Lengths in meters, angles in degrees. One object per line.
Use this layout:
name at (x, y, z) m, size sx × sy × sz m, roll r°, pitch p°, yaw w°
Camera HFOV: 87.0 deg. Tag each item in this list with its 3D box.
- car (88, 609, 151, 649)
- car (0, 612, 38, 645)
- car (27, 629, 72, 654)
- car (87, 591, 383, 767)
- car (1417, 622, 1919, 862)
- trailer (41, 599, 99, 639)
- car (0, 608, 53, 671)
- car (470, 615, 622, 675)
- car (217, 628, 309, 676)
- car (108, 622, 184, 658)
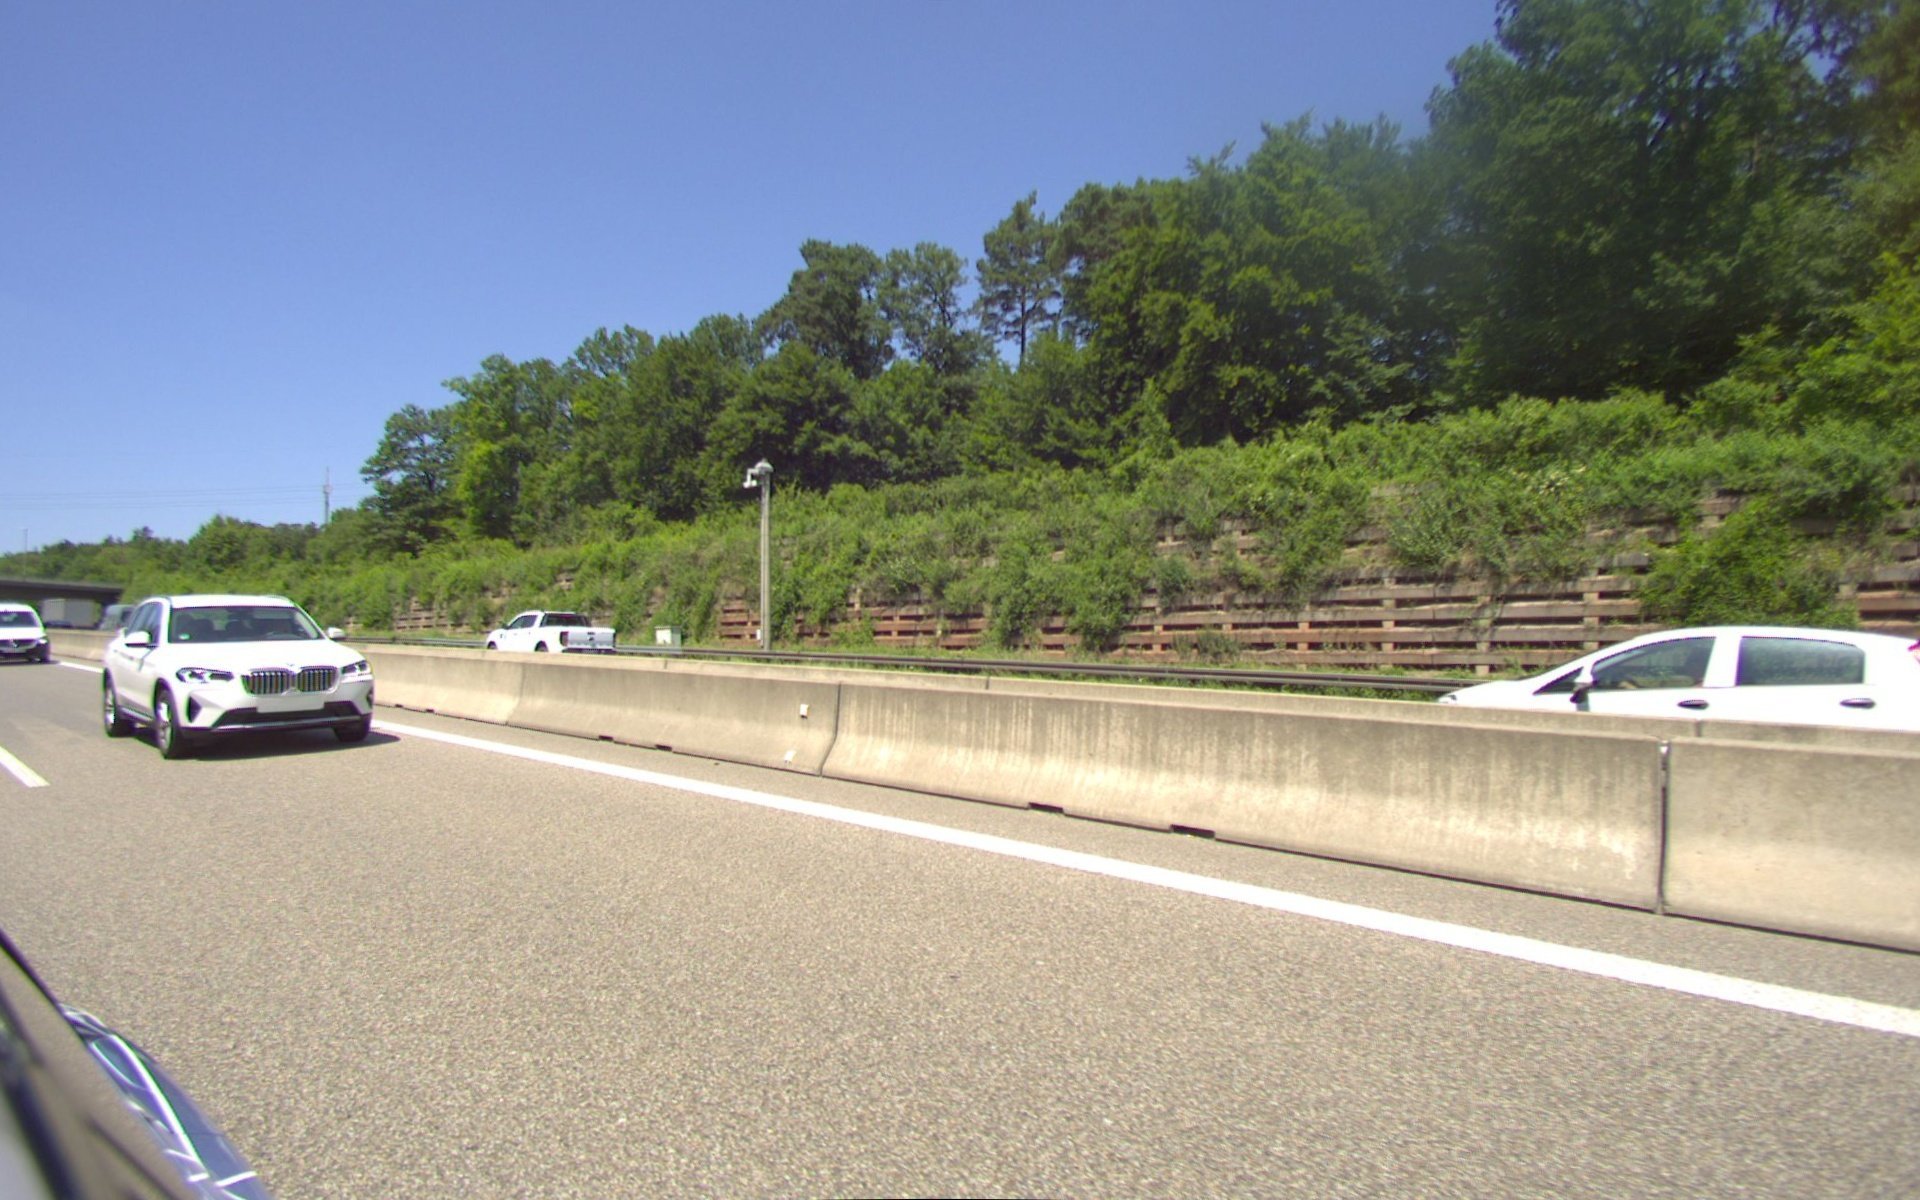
car at (-59.442, 2.057, 71.500) m, size 7.134 × 2.704 × 2.216 m, roll -1°, pitch -3°, yaw 41°
car at (-80.266, 2.432, 85.909) m, size 5.338 × 2.704 × 2.216 m, roll -1°, pitch -3°, yaw 41°
car at (-61.700, 2.812, 68.568) m, size 4.279 × 1.617 × 1.714 m, roll -1°, pitch -3°, yaw 41°
car at (-8.457, 0.778, 11.662) m, size 4.366 × 1.656 × 1.826 m, roll -1°, pitch -1°, yaw 41°
car at (6.143, 1.014, 8.294) m, size 4.056 × 1.617 × 1.728 m, roll -1°, pitch -3°, yaw 41°
trailer at (-97.566, 2.054, 110.841) m, size 14.177 × 4.217 × 2.904 m, roll -1°, pitch 0°, yaw 41°
car at (-28.947, 1.158, 30.506) m, size 4.501 × 1.788 × 1.972 m, roll -1°, pitch 0°, yaw 43°
car at (-12.526, 1.326, 30.414) m, size 5.646 × 1.650 × 1.863 m, roll -1°, pitch -3°, yaw 41°
car at (-25.636, 1.881, 37.175) m, size 4.301 × 1.650 × 1.735 m, roll -1°, pitch -3°, yaw 41°
car at (-39.116, 1.900, 48.579) m, size 5.223 × 1.617 × 1.919 m, roll -1°, pitch -3°, yaw 41°
